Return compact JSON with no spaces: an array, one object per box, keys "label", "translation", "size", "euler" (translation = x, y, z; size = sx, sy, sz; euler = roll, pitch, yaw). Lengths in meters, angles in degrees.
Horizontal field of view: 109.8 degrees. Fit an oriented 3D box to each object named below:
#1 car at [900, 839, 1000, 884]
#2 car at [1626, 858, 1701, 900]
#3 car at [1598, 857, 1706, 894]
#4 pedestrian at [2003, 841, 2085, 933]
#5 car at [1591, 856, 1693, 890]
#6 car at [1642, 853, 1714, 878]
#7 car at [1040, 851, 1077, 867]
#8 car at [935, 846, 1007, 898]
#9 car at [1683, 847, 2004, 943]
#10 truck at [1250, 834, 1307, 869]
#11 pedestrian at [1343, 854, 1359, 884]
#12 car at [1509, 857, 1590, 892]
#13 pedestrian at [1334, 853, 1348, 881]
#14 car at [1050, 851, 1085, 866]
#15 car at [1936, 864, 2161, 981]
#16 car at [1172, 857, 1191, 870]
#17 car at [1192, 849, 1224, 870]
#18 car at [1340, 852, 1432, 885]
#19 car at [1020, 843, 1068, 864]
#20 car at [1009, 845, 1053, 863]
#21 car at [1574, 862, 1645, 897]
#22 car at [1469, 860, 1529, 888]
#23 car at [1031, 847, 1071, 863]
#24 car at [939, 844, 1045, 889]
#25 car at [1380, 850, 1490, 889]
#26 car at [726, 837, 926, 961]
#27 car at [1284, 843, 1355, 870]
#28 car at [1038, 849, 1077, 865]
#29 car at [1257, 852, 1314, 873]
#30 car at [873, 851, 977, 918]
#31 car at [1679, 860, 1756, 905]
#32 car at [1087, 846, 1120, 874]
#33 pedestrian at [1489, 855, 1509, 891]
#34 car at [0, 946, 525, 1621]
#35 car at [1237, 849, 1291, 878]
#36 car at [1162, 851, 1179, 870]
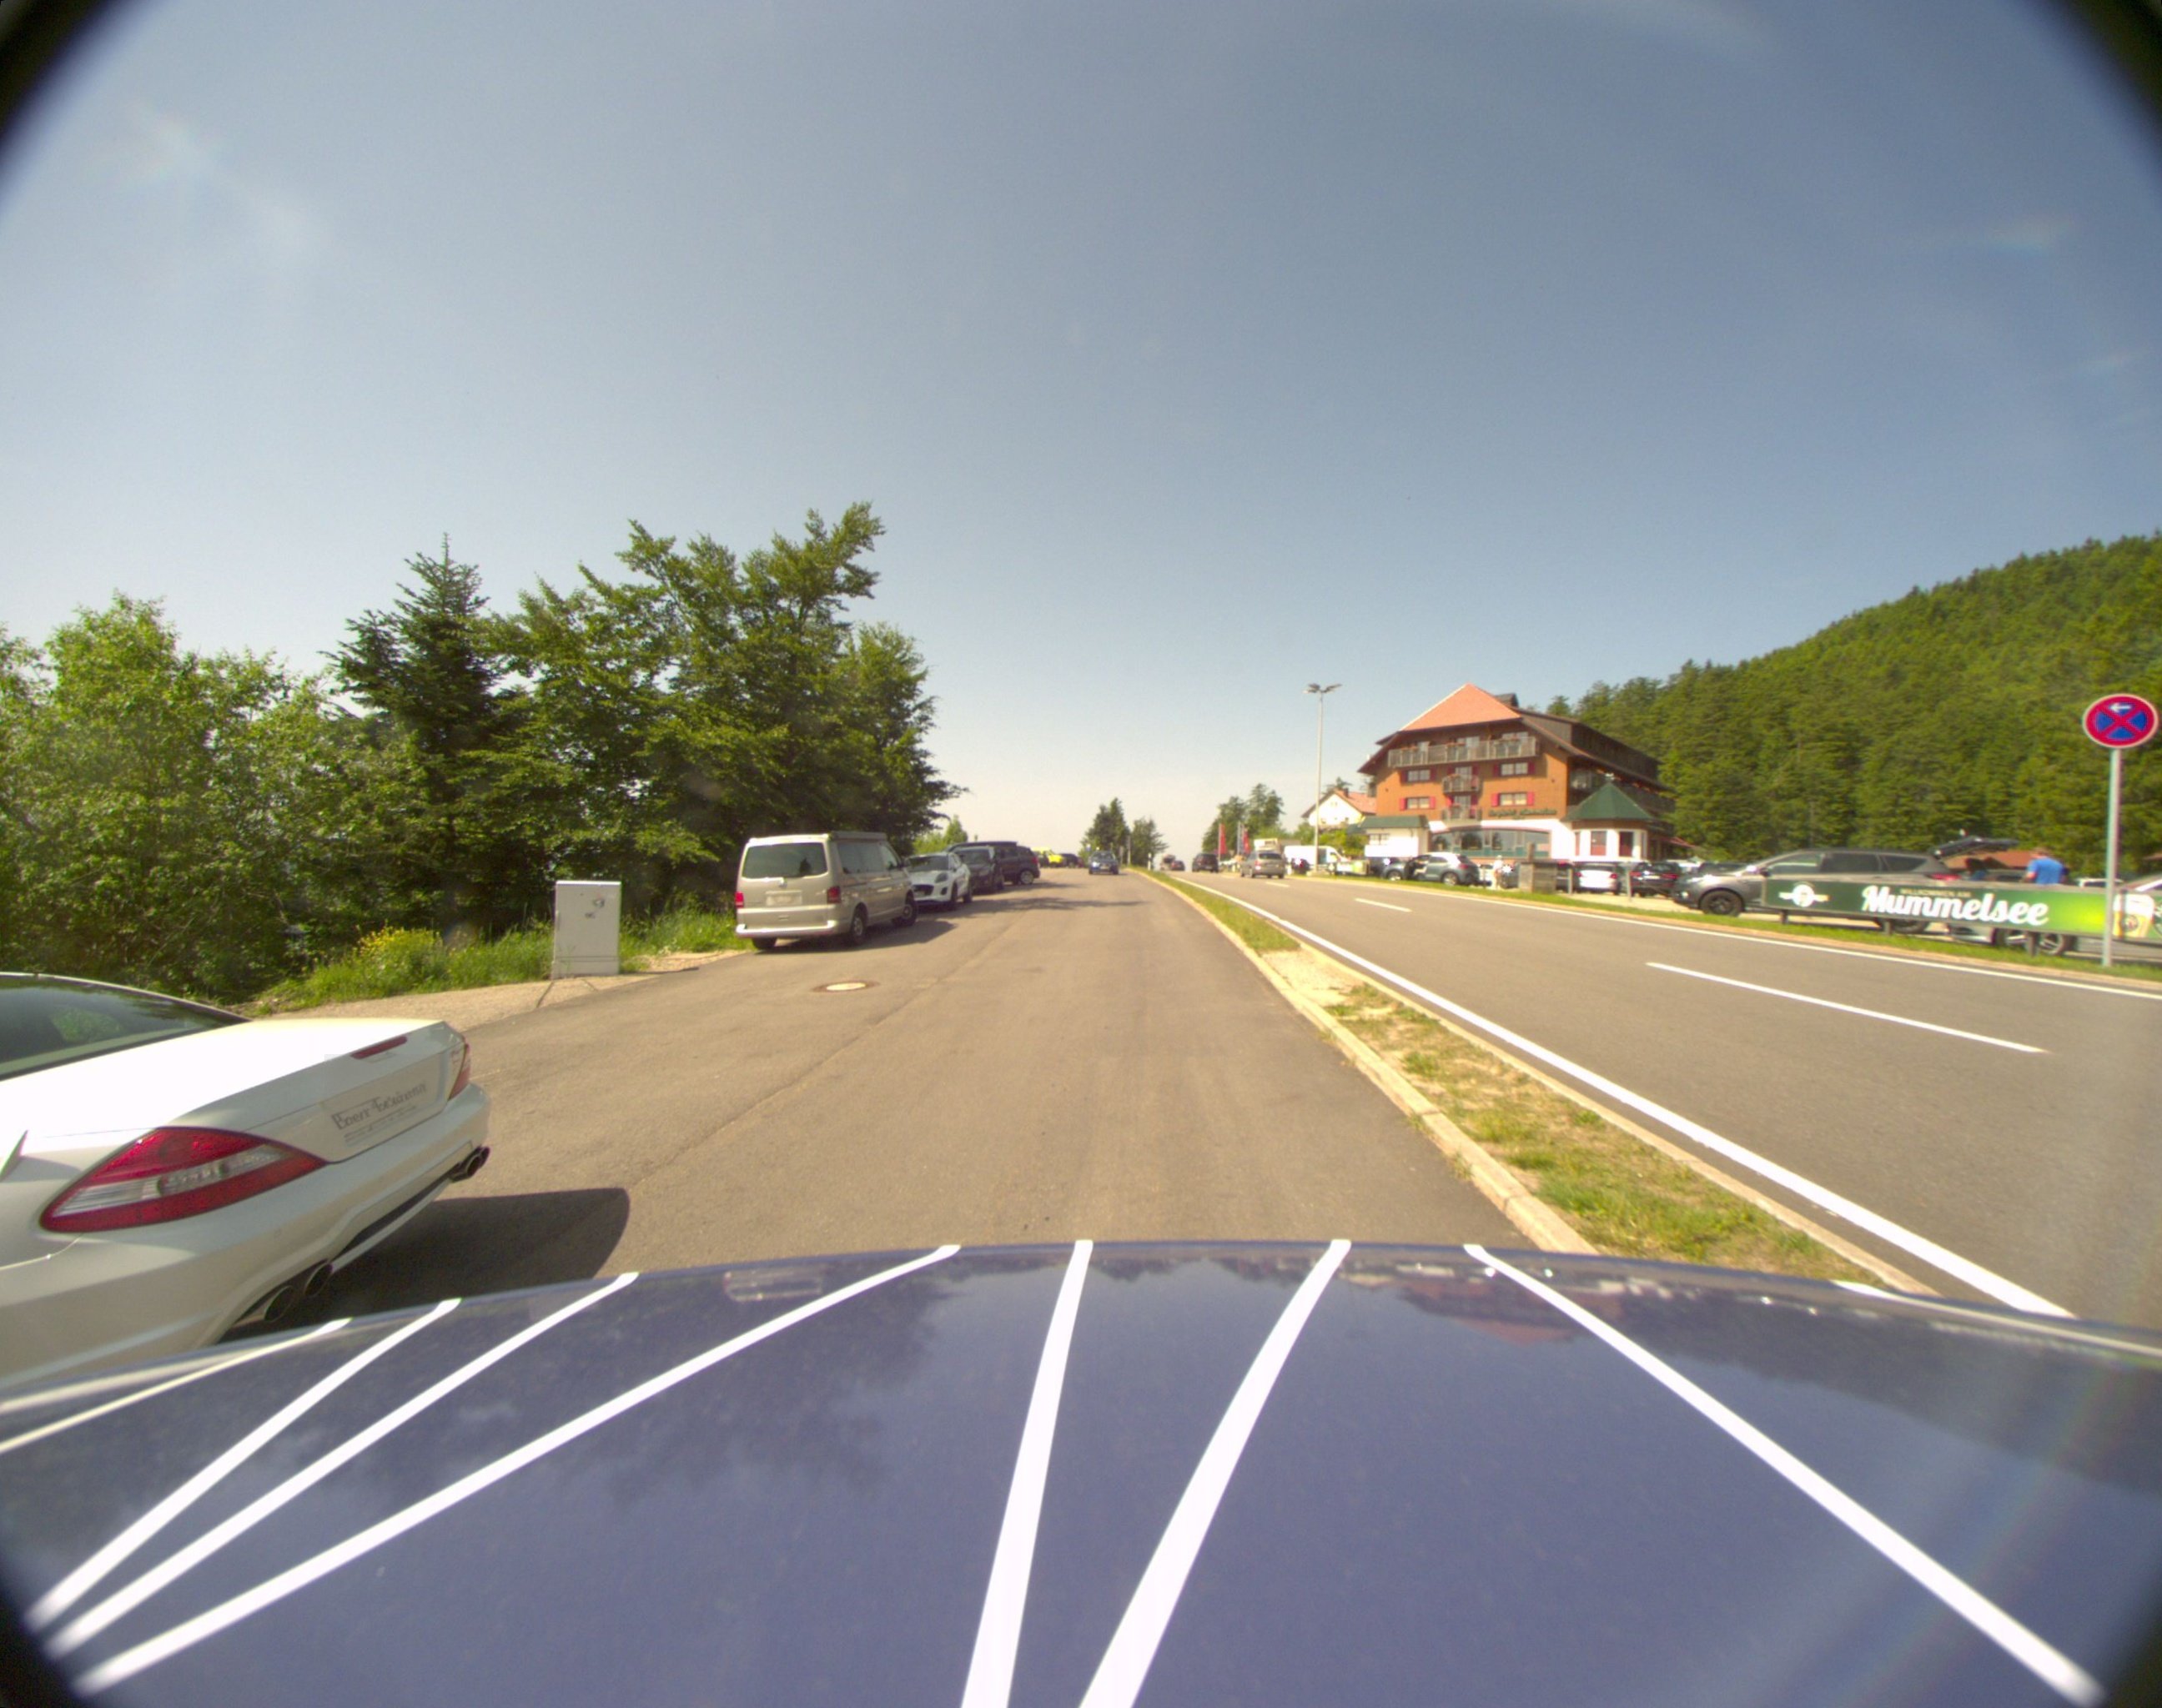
[{"label":"car","translation":[-6.380,0.317,36.831],"size":[4.463,1.914,1.873],"euler":[-3,1,-18]},{"label":"car","translation":[24.761,1.016,32.237],"size":[4.104,1.619,1.818],"euler":[1,1,-43]},{"label":"car","translation":[28.421,1.034,37.883],"size":[4.082,1.619,1.828],"euler":[2,1,44]},{"label":"pedestrian","translation":[17.754,0.577,14.031],"size":[0.744,1.626,0.849],"euler":[2,2,41]},{"label":"car","translation":[29.526,0.966,40.083],"size":[4.082,1.619,1.828],"euler":[2,1,44]},{"label":"car","translation":[45.669,0.861,58.172],"size":[1.924,1.706,4.082],"euler":[0,1,-45]},{"label":"car","translation":[-2.478,0.539,83.886],"size":[3.909,1.605,1.877],"euler":[1,1,4]},{"label":"car","translation":[-3.802,0.583,26.900],"size":[1.875,1.609,3.999],"euler":[-3,1,1]},{"label":"car","translation":[15.690,0.738,16.010],"size":[4.538,1.646,1.726],"euler":[2,1,43]},{"label":"truck","translation":[23.123,-0.256,88.604],"size":[2.876,3.798,9.037],"euler":[-1,0,39]},{"label":"pedestrian","translation":[18.173,0.979,51.154],"size":[0.717,2.002,0.802],"euler":[0,1,0]},{"label":"car","translation":[21.164,0.879,34.513],"size":[1.719,1.422,4.003],"euler":[2,1,10]},{"label":"pedestrian","translation":[18.366,0.912,53.696],"size":[0.717,2.002,0.802],"euler":[0,1,0]},{"label":"car","translation":[-1.529,0.495,87.846],"size":[3.909,1.605,1.877],"euler":[1,1,4]},{"label":"car","translation":[14.734,0.923,9.971],"size":[4.488,1.422,1.726],"euler":[2,1,44]},{"label":"car","translation":[12.118,1.083,91.904],"size":[1.710,1.429,4.449],"euler":[1,1,0]},{"label":"car","translation":[10.560,0.448,63.543],"size":[1.998,1.638,4.567],"euler":[1,1,2]},{"label":"car","translation":[16.807,0.787,42.006],"size":[4.258,1.619,1.828],"euler":[2,1,44]},{"label":"car","translation":[-3.649,-0.048,75.197],"size":[4.455,1.914,1.877],"euler":[1,1,4]},{"label":"car","translation":[-4.763,-0.030,72.549],"size":[3.909,1.605,1.877],"euler":[1,1,4]},{"label":"car","translation":[24.511,1.139,35.210],"size":[4.104,1.504,1.818],"euler":[1,1,-43]},{"label":"car","translation":[24.334,1.117,44.195],"size":[4.104,1.504,1.818],"euler":[1,1,-43]},{"label":"car","translation":[-3.037,0.089,78.280],"size":[3.909,1.605,1.877],"euler":[1,1,4]},{"label":"car","translation":[-3.712,0.504,31.492],"size":[4.003,1.609,1.873],"euler":[-3,1,-18]},{"label":"car","translation":[16.497,0.690,35.506],"size":[4.258,1.619,1.828],"euler":[2,1,44]},{"label":"car","translation":[-4.589,0.703,14.542],"size":[1.861,1.924,4.610],"euler":[-3,1,5]},{"label":"car","translation":[25.401,0.235,80.918],"size":[6.949,2.775,2.671],"euler":[1,1,20]},{"label":"car","translation":[-2.469,0.312,81.176],"size":[3.909,1.605,1.877],"euler":[1,1,4]},{"label":"car","translation":[16.670,0.672,62.028],"size":[4.082,1.518,1.828],"euler":[2,1,40]},{"label":"car","translation":[-4.118,0.739,20.721],"size":[1.875,1.538,3.999],"euler":[-3,1,1]},{"label":"car","translation":[25.439,1.094,30.302],"size":[4.104,1.619,1.818],"euler":[1,1,-43]},{"label":"car","translation":[1.365,0.328,46.086],"size":[1.875,1.605,3.913],"euler":[1,1,1]},{"label":"pedestrian","translation":[19.702,0.885,35.811],"size":[0.744,1.615,0.684],"euler":[2,1,31]},{"label":"car","translation":[-4.451,1.155,2.006],"size":[4.414,1.288,1.753],"euler":[-3,0,-16]},{"label":"car","translation":[9.916,0.476,41.550],"size":[1.884,1.466,4.714],"euler":[-1,1,1]},{"label":"car","translation":[13.206,0.898,112.501],"size":[2.016,2.735,5.917],"euler":[1,1,2]}]
